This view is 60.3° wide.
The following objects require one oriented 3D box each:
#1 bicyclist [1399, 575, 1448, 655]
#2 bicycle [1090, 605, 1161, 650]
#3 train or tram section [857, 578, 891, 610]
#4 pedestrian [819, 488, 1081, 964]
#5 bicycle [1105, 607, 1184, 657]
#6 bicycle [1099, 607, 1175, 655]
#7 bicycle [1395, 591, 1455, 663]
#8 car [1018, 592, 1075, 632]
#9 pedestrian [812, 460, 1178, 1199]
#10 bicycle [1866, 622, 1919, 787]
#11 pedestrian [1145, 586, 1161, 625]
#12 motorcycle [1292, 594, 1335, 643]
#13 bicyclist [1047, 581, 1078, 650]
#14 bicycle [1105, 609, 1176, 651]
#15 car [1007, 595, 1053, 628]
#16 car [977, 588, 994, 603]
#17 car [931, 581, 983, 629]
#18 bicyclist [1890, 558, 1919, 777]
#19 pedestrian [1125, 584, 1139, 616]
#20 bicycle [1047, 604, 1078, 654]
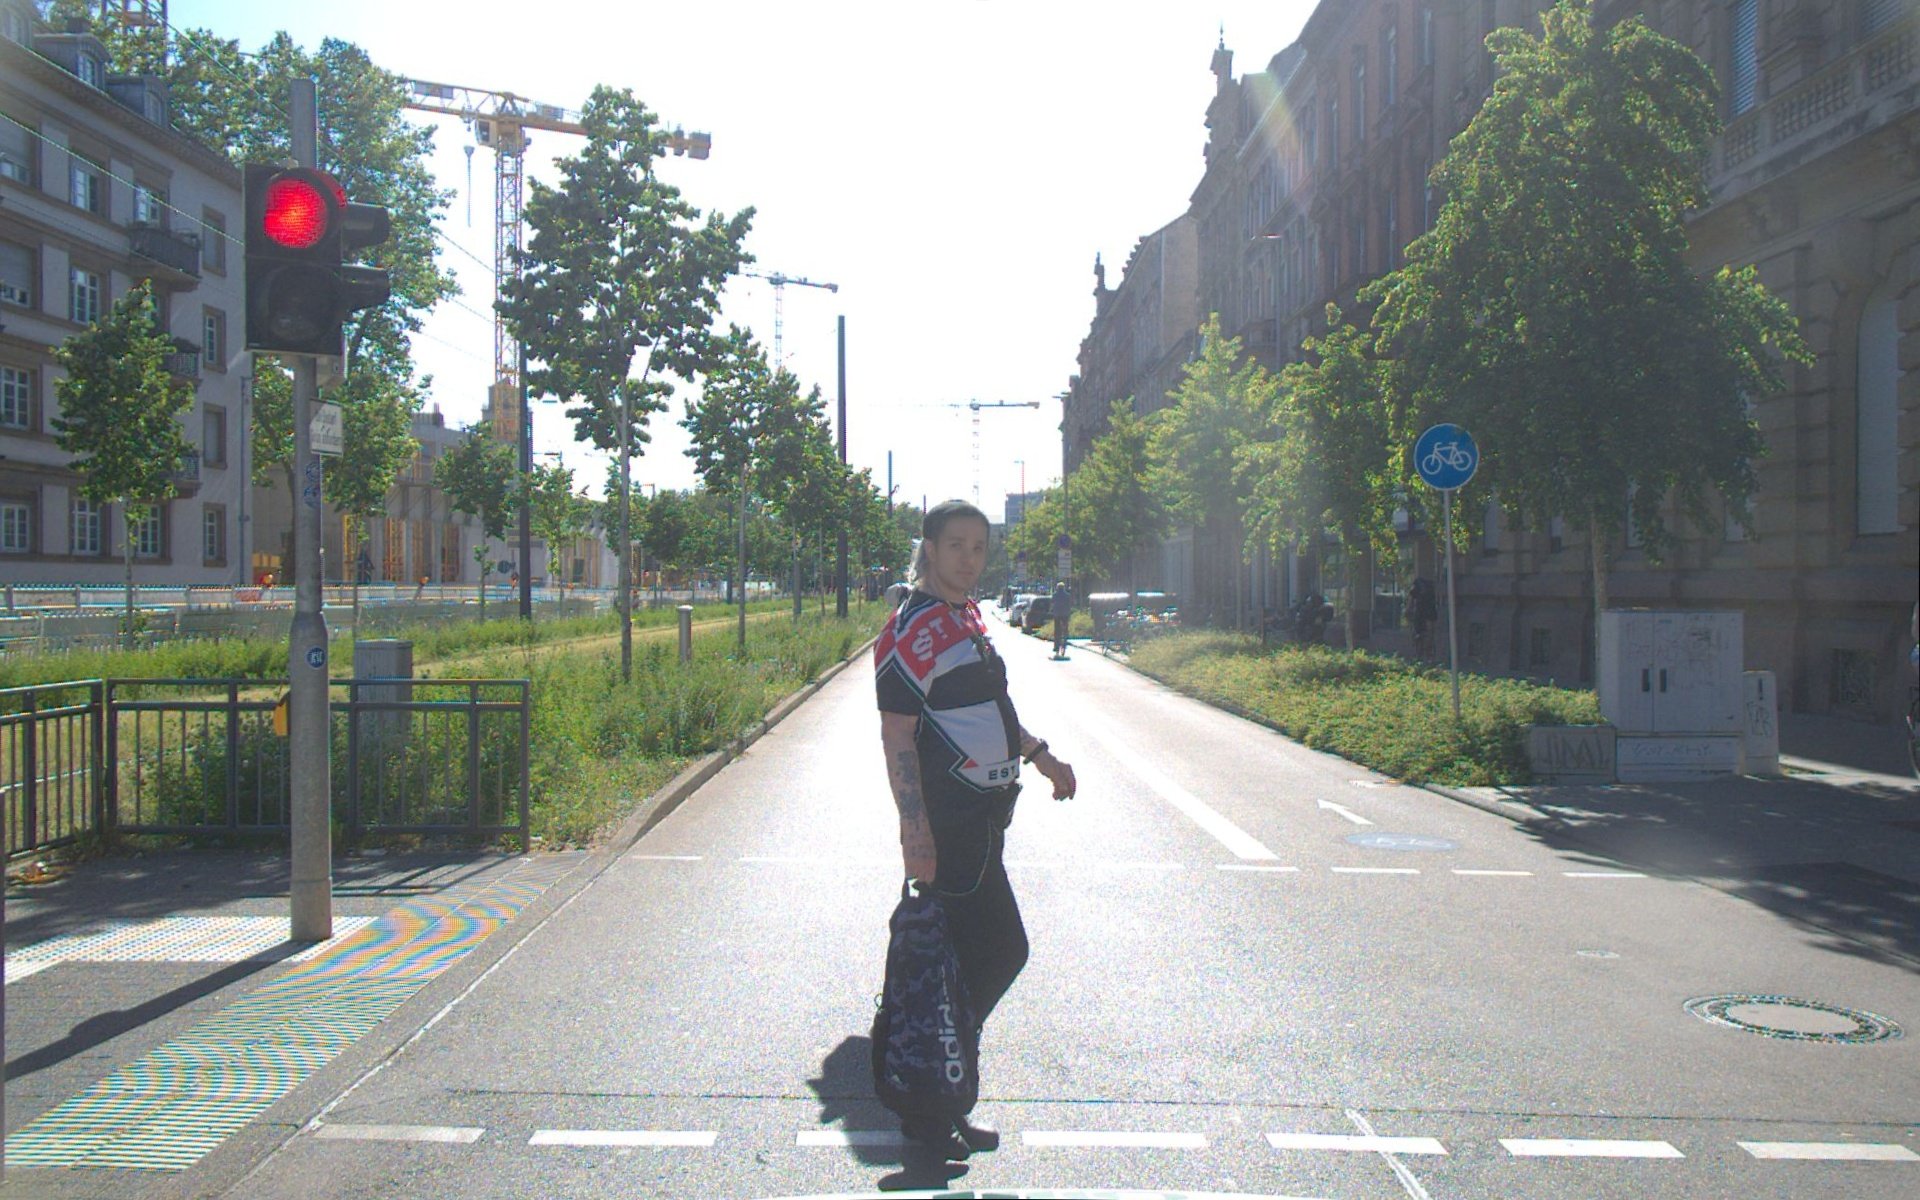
[{"bbox_3d":[9.330,0.292,33.311,0.647,1.556,0.801,-4,0,0],"label":"bicyclist"},{"bbox_3d":[4.395,0.719,43.961,1.756,1.048,0.527,-4,0,-1],"label":"bicycle"},{"bbox_3d":[-7.990,-0.499,154.299,2.700,2.790,9.861,1,0,-1],"label":"train or tram section"},{"bbox_3d":[-0.062,0.507,7.147,1.055,1.942,0.652,0,0,-7],"label":"pedestrian"},{"bbox_3d":[4.410,0.759,39.579,1.756,1.048,0.527,-4,0,-1],"label":"bicycle"},{"bbox_3d":[4.385,0.765,41.014,1.756,1.048,0.527,-4,0,-1],"label":"bicycle"},{"bbox_3d":[9.360,0.523,33.375,0.603,1.353,1.900,-4,0,1],"label":"bicycle"},{"bbox_3d":[3.493,0.460,67.416,1.987,1.525,4.653,0,0,-1],"label":"car"},{"bbox_3d":[0.048,0.575,4.502,0.848,1.819,0.969,1,0,-7],"label":"pedestrian"},{"bbox_3d":[7.647,0.812,12.653,0.571,1.244,1.901,0,0,6],"label":"bicycle"},{"bbox_3d":[8.220,0.228,70.392,0.601,1.640,0.669,0,0,-1],"label":"pedestrian"},{"bbox_3d":[9.454,0.480,44.299,0.686,1.289,1.981,0,0,-1],"label":"motorcycle"},{"bbox_3d":[2.587,0.379,41.850,0.670,1.702,0.922,2,0,-2],"label":"bicyclist"},{"bbox_3d":[4.649,0.771,42.589,1.756,1.048,0.527,0,0,-1],"label":"bicycle"},{"bbox_3d":[3.344,0.511,79.821,1.987,1.525,4.529,0,0,-1],"label":"car"},{"bbox_3d":[3.131,-0.560,206.342,1.953,1.759,3.999,1,0,-1],"label":"car"},{"bbox_3d":[-0.148,0.193,71.503,2.155,1.960,4.653,0,0,-1],"label":"car"},{"bbox_3d":[7.622,0.513,12.560,0.652,1.668,0.961,0,0,6],"label":"bicyclist"},{"bbox_3d":[8.745,-0.009,84.195,0.601,1.640,0.669,0,0,-1],"label":"pedestrian"},{"bbox_3d":[2.562,0.709,41.679,0.589,1.201,1.869,2,0,-1],"label":"bicycle"}]
